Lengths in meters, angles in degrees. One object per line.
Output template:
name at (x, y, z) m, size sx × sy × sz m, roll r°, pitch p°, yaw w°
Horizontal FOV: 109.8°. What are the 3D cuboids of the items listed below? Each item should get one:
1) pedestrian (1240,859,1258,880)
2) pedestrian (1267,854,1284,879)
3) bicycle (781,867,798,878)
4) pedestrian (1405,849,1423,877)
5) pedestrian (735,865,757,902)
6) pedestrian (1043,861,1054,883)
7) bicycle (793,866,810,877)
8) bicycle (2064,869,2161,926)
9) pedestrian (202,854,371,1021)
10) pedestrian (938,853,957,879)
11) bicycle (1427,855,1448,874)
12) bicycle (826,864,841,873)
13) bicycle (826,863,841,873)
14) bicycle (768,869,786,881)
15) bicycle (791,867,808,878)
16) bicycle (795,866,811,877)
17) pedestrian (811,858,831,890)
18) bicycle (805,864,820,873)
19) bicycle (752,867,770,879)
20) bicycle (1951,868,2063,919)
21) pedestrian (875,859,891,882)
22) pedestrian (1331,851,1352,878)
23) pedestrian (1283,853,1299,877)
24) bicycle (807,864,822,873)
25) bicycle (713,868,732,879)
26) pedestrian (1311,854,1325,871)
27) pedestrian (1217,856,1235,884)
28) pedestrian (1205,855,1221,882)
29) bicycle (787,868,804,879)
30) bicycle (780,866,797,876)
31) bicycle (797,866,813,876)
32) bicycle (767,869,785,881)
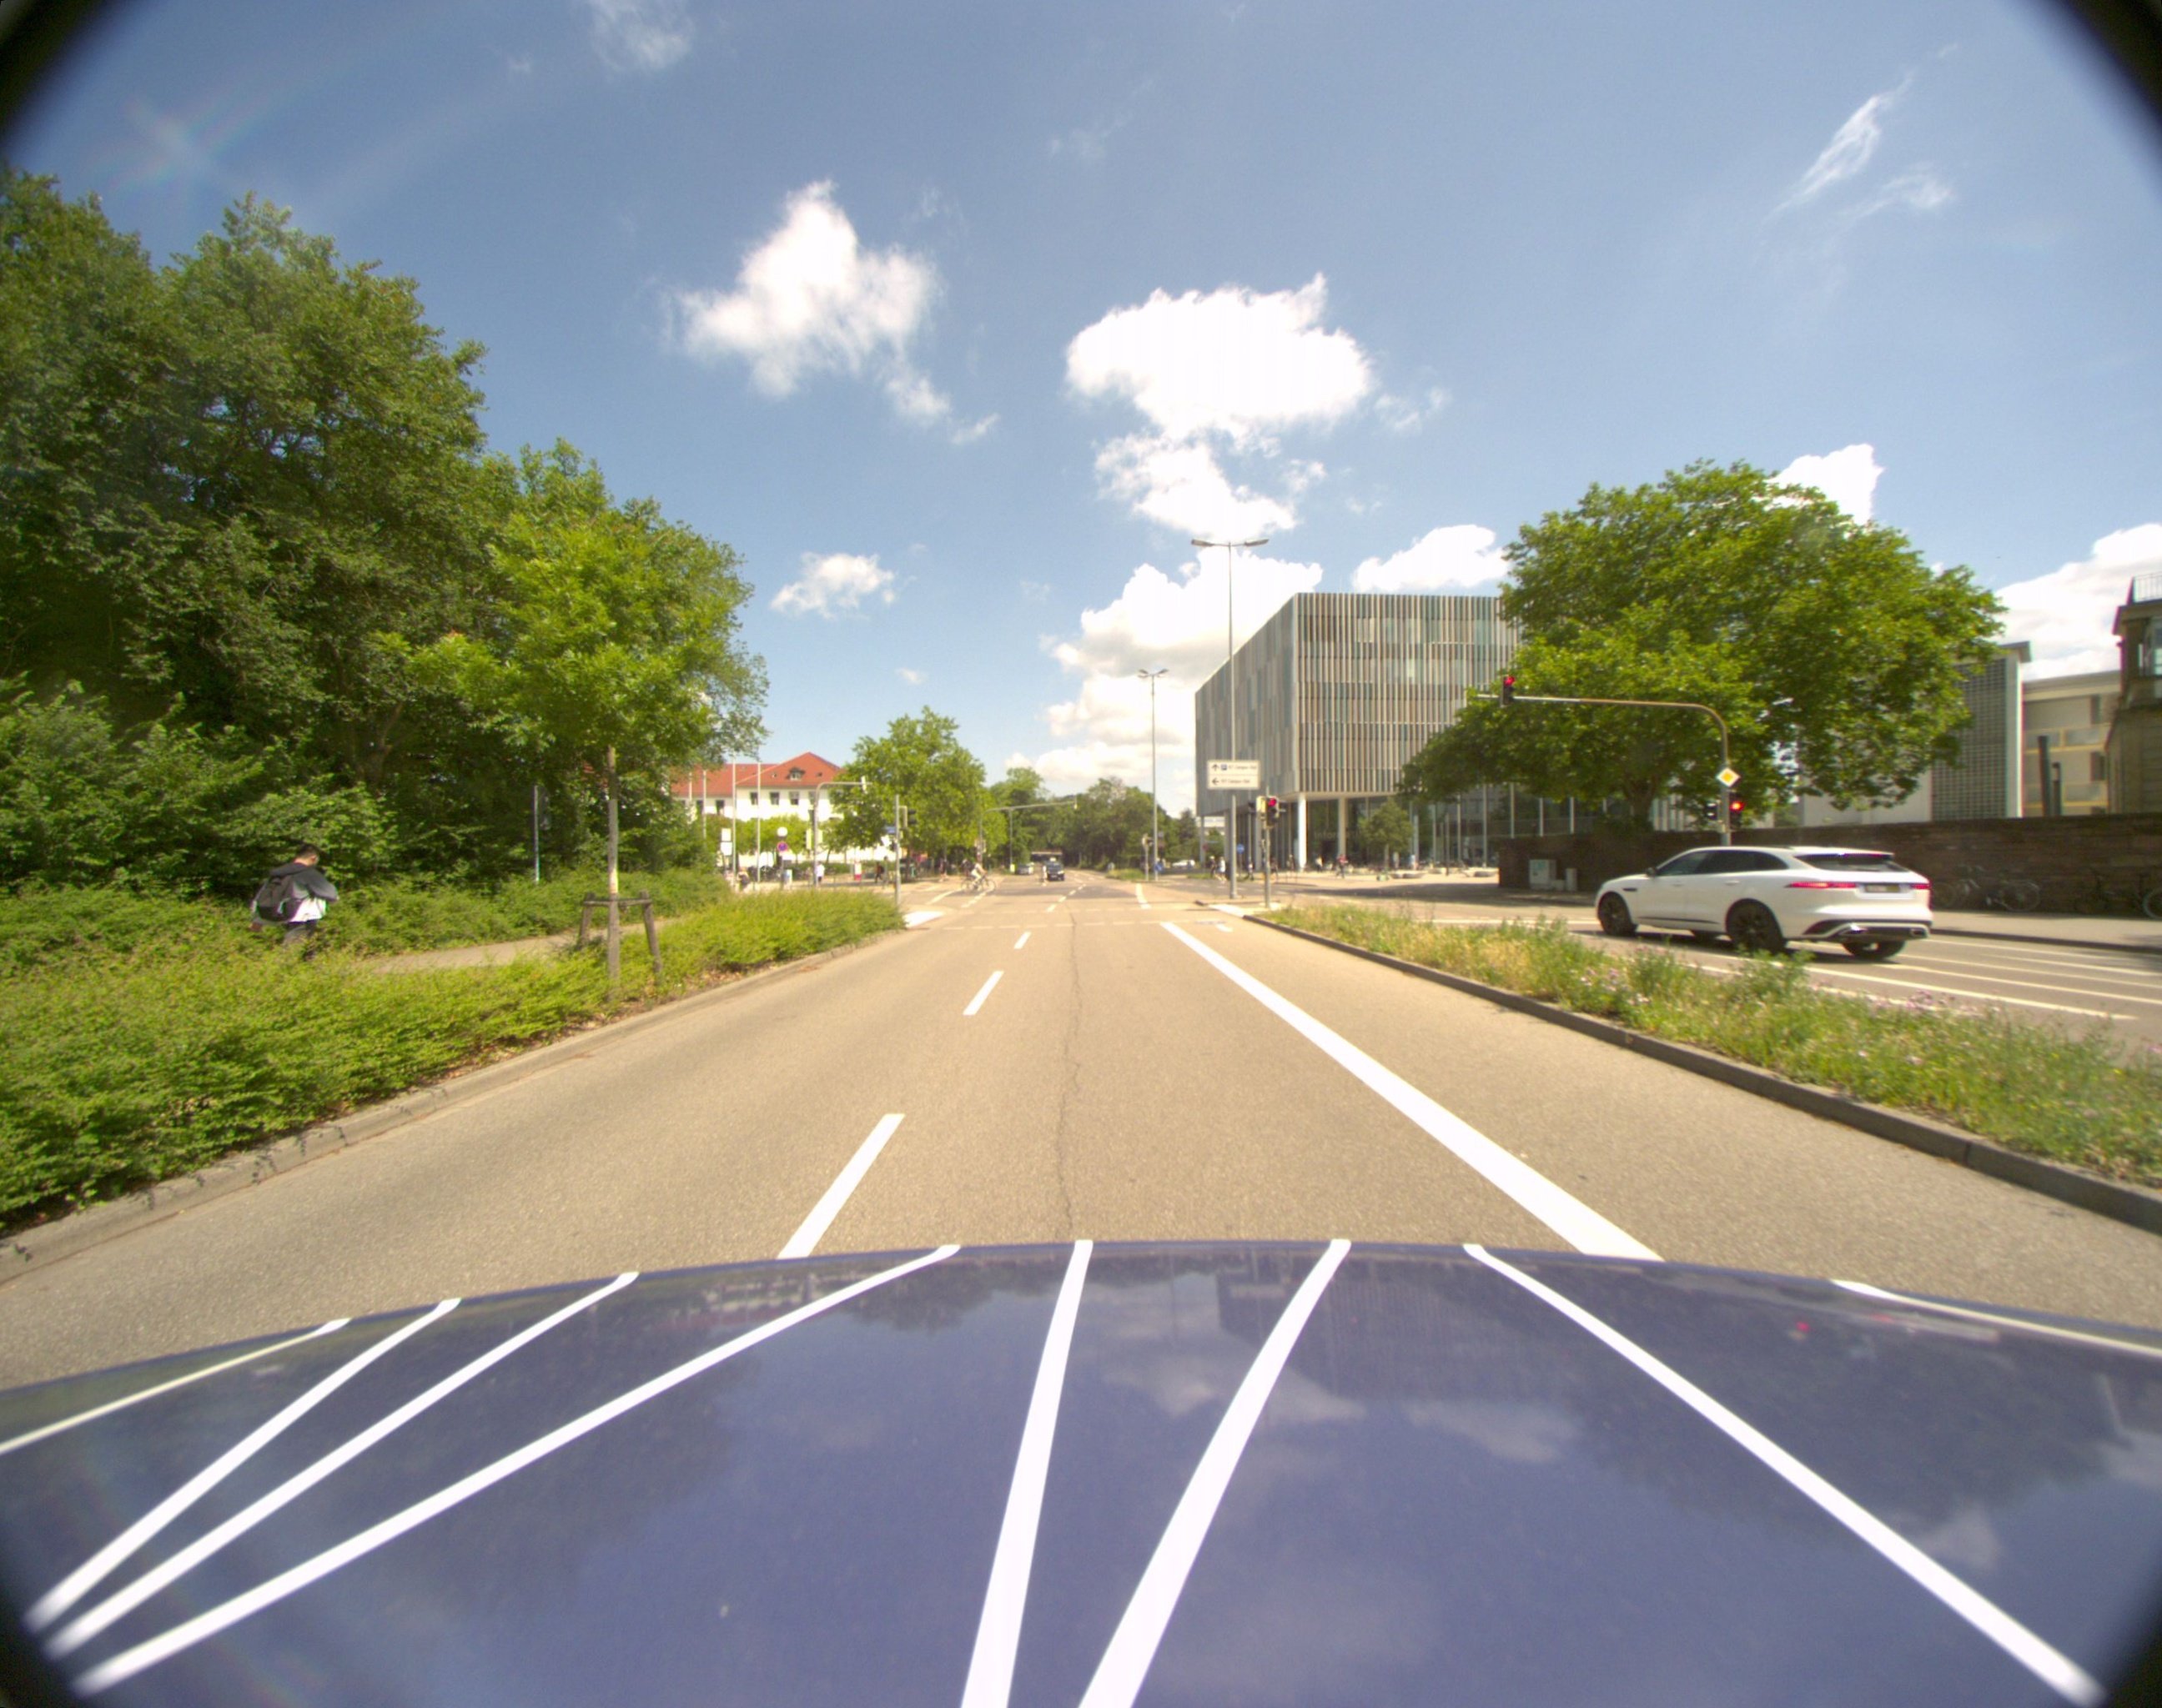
pedestrian at (12.928, 1.178, 58.381) m, size 0.880 × 1.619 × 0.969 m, roll -1°, pitch 1°, yaw -33°
pedestrian at (15.102, 0.933, 58.989) m, size 0.881 × 1.914 × 0.969 m, roll -1°, pitch 1°, yaw -43°
bicycle at (-25.424, 1.642, 66.233) m, size 1.371 × 0.945 × 0.352 m, roll -1°, pitch 0°, yaw -7°
pedestrian at (23.146, 0.606, 52.795) m, size 1.106 × 1.914 × 0.973 m, roll -1°, pitch 1°, yaw 24°
pedestrian at (-14.696, 1.284, 33.334) m, size 0.633 × 1.617 × 0.647 m, roll 0°, pitch 1°, yaw 34°
pedestrian at (-2.284, 1.259, 53.378) m, size 0.591 × 1.495 × 0.416 m, roll -1°, pitch 1°, yaw -19°
bicycle at (-25.553, 1.619, 69.402) m, size 1.371 × 0.945 × 0.352 m, roll -1°, pitch 1°, yaw -7°
bicycle at (22.376, 0.904, 16.292) m, size 0.413 × 1.145 × 1.593 m, roll -1°, pitch 0°, yaw -6°
pedestrian at (-8.616, 0.861, 8.292) m, size 0.815 × 1.711 × 0.929 m, roll -1°, pitch 1°, yaw 0°
pedestrian at (-10.095, 0.924, 57.387) m, size 1.030 × 1.914 × 0.973 m, roll -1°, pitch 1°, yaw 20°
bicycle at (31.297, 0.911, 66.696) m, size 0.997 × 1.543 × 3.422 m, roll 0°, pitch 0°, yaw 36°
bicycle at (-26.108, 1.489, 80.026) m, size 1.429 × 0.945 × 0.352 m, roll -1°, pitch 0°, yaw -7°
bicycle at (-26.202, 1.484, 80.536) m, size 1.429 × 0.945 × 0.352 m, roll -1°, pitch 0°, yaw -7°
bicycle at (-25.836, 1.784, 64.668) m, size 1.371 × 0.941 × 0.352 m, roll -1°, pitch 0°, yaw -7°
bicycle at (-25.001, 1.664, 67.565) m, size 1.371 × 0.945 × 0.352 m, roll -1°, pitch 0°, yaw -7°
bicycle at (-25.636, 1.595, 70.049) m, size 1.371 × 0.945 × 0.352 m, roll -1°, pitch 0°, yaw -7°
pedestrian at (-15.278, 1.156, 44.712) m, size 0.879 × 1.861 × 0.971 m, roll -1°, pitch 1°, yaw -5°
bicycle at (-28.158, 1.514, 79.554) m, size 1.429 × 0.945 × 0.352 m, roll -1°, pitch 0°, yaw -7°
bicycle at (-27.664, 1.613, 65.610) m, size 1.371 × 0.995 × 0.352 m, roll -1°, pitch 0°, yaw -7°
bicycle at (22.006, 0.909, 18.107) m, size 0.623 × 1.145 × 1.593 m, roll -1°, pitch 0°, yaw -9°
pedestrian at (-13.769, 1.141, 52.886) m, size 1.064 × 1.588 × 0.970 m, roll -1°, pitch 1°, yaw -16°
pedestrian at (18.999, 0.764, 55.443) m, size 1.109 × 1.914 × 0.971 m, roll -1°, pitch 1°, yaw -8°
pedestrian at (16.664, 0.876, 60.221) m, size 0.969 × 1.914 × 0.881 m, roll -1°, pitch 1°, yaw 37°
bicycle at (-28.113, 1.507, 80.223) m, size 1.429 × 0.945 × 0.352 m, roll -1°, pitch 0°, yaw -7°
bicycle at (-30.590, 1.686, 64.833) m, size 1.370 × 0.945 × 0.352 m, roll -1°, pitch 0°, yaw 2°
pedestrian at (23.519, 0.836, 75.296) m, size 1.011 × 1.697 × 1.213 m, roll -1°, pitch 0°, yaw 33°
pedestrian at (10.113, 1.079, 52.994) m, size 1.107 × 1.914 × 0.973 m, roll -1°, pitch 1°, yaw 14°
pedestrian at (9.446, 1.012, 54.311) m, size 1.107 × 1.914 × 0.973 m, roll -1°, pitch 1°, yaw 12°
bicycle at (-25.136, 1.691, 66.855) m, size 1.371 × 0.945 × 0.352 m, roll -1°, pitch 0°, yaw -7°
bicycle at (-27.397, 1.588, 71.207) m, size 1.412 × 0.945 × 0.352 m, roll -1°, pitch 0°, yaw -7°
bicycle at (-25.677, 1.575, 70.707) m, size 1.371 × 0.945 × 0.352 m, roll -1°, pitch 0°, yaw -7°
bicycle at (-25.716, 1.783, 64.104) m, size 1.371 × 0.945 × 0.352 m, roll -1°, pitch 0°, yaw -7°
